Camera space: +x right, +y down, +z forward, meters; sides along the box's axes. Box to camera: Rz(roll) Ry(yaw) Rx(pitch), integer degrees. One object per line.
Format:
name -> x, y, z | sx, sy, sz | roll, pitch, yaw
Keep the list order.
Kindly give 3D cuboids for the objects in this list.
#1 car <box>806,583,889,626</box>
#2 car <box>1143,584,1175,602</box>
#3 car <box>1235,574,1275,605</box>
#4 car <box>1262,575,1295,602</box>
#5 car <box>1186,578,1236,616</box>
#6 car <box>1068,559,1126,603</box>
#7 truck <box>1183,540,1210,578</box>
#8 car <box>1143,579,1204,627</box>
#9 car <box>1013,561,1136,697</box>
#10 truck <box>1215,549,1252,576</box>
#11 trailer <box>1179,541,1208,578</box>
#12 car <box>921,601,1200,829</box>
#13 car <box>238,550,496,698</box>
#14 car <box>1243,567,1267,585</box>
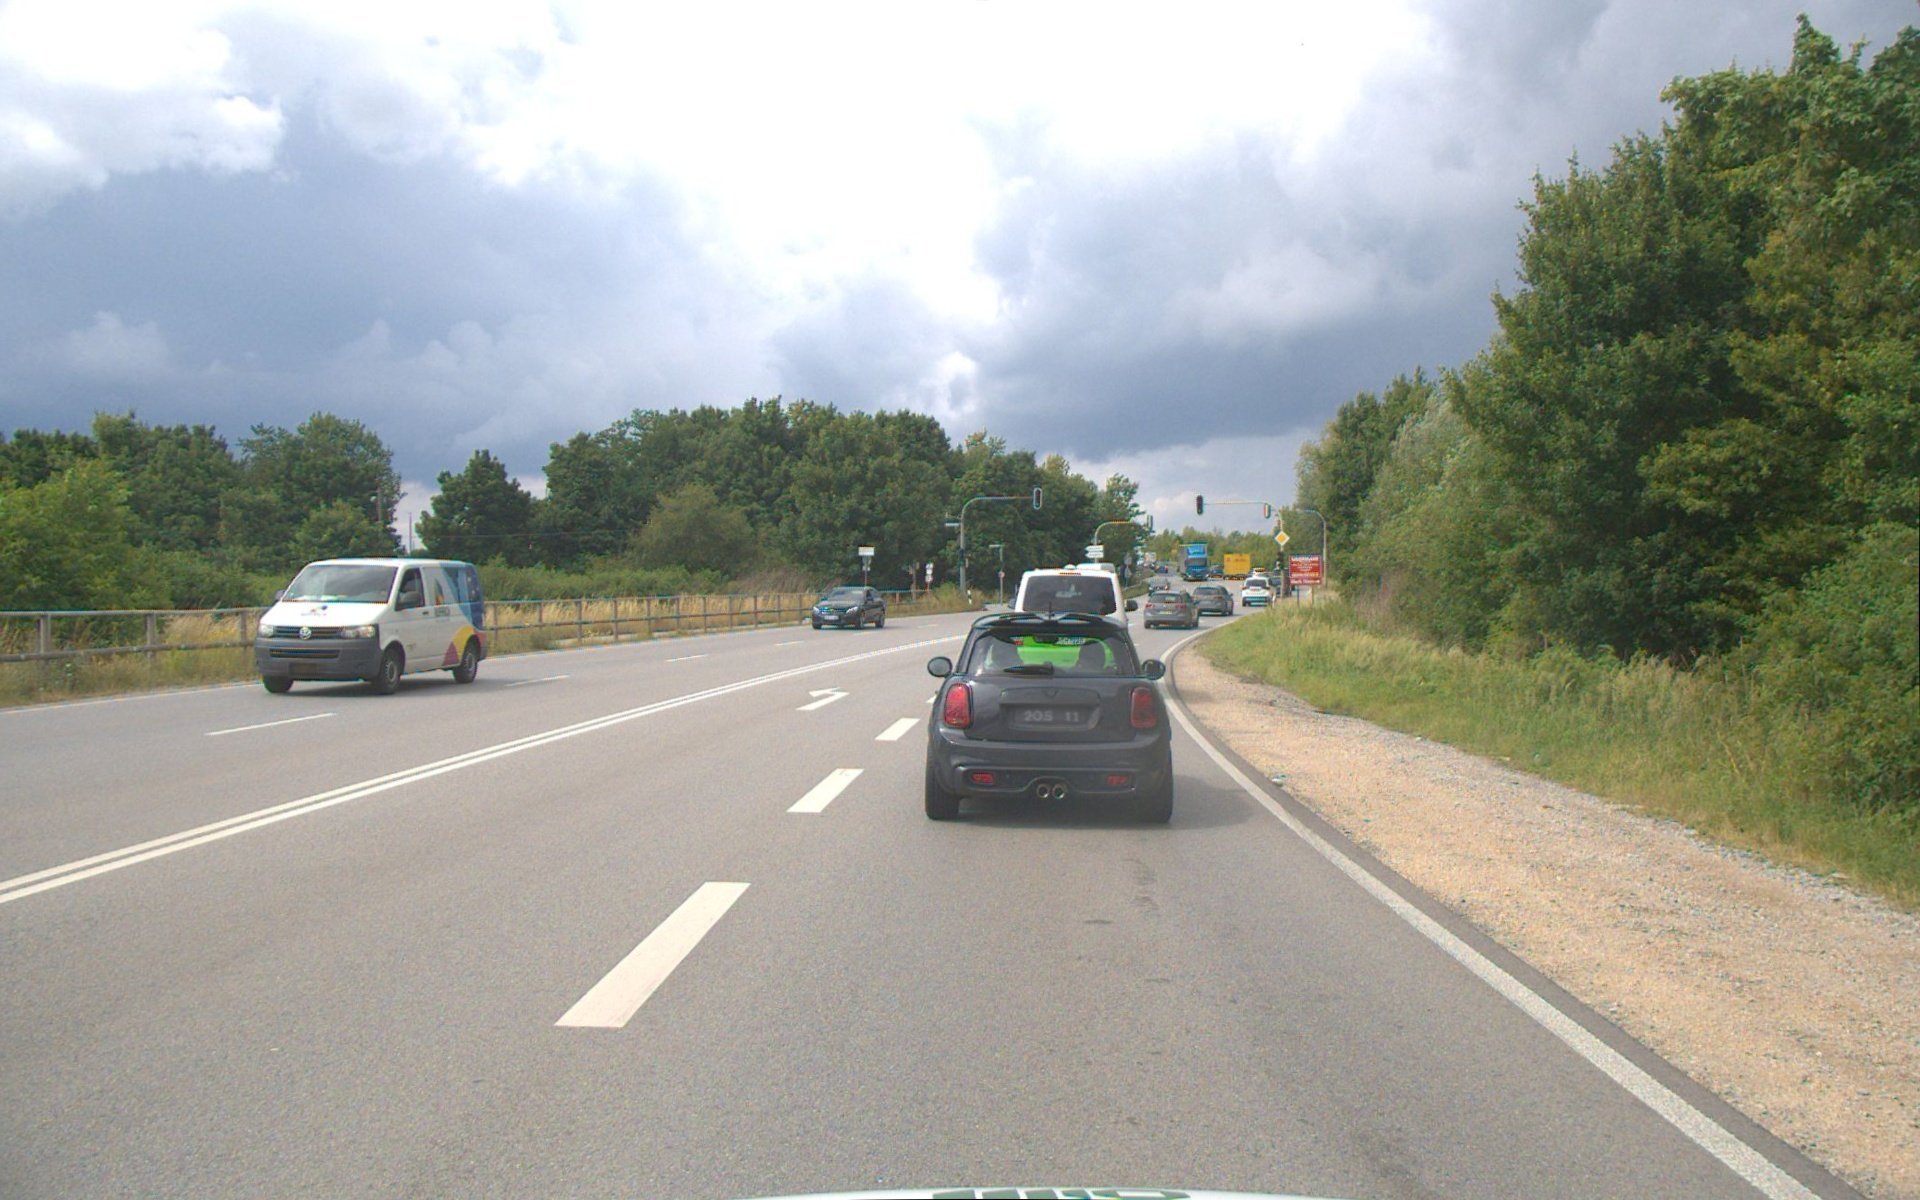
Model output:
car -> -3.988, 0.155, 59.286 | 1.770, 1.467, 4.357 | 0, 0, 13
car -> 16.881, -0.588, 140.108 | 1.905, 1.466, 4.002 | 0, 1, 18
car -> 17.381, -0.600, 97.325 | 1.951, 1.713, 4.002 | 1, -1, 15
car -> 22.183, -0.807, 115.159 | 1.951, 1.713, 4.002 | 1, -1, 15
car -> 12.327, -0.120, 81.011 | 1.951, 1.713, 3.979 | 1, -1, 16
car -> 8.808, -1.191, 105.475 | 2.382, 2.721, 6.893 | 0, 0, 16
truck -> 26.342, -4.496, 184.142 | 2.487, 4.167, 4.001 | 0, 1, 1
car -> 8.213, 0.139, 63.357 | 1.951, 1.713, 4.003 | 1, -1, 12
car -> 1.854, 0.416, 26.644 | 1.806, 2.021, 3.843 | 1, 0, 4
truck -> 31.169, -4.232, 188.822 | 2.661, 2.948, 8.770 | 0, 0, -1
trailer -> 26.395, -4.560, 187.501 | 2.475, 4.172, 6.736 | 0, 1, 1
car -> 0.746, 0.751, 12.729 | 1.806, 1.453, 3.842 | 1, 0, 3
car -> -8.912, 0.321, 25.346 | 1.951, 2.049, 4.670 | 0, 0, 5
car -> 30.473, -2.481, 170.959 | 1.952, 1.818, 4.488 | -1, 1, 3
